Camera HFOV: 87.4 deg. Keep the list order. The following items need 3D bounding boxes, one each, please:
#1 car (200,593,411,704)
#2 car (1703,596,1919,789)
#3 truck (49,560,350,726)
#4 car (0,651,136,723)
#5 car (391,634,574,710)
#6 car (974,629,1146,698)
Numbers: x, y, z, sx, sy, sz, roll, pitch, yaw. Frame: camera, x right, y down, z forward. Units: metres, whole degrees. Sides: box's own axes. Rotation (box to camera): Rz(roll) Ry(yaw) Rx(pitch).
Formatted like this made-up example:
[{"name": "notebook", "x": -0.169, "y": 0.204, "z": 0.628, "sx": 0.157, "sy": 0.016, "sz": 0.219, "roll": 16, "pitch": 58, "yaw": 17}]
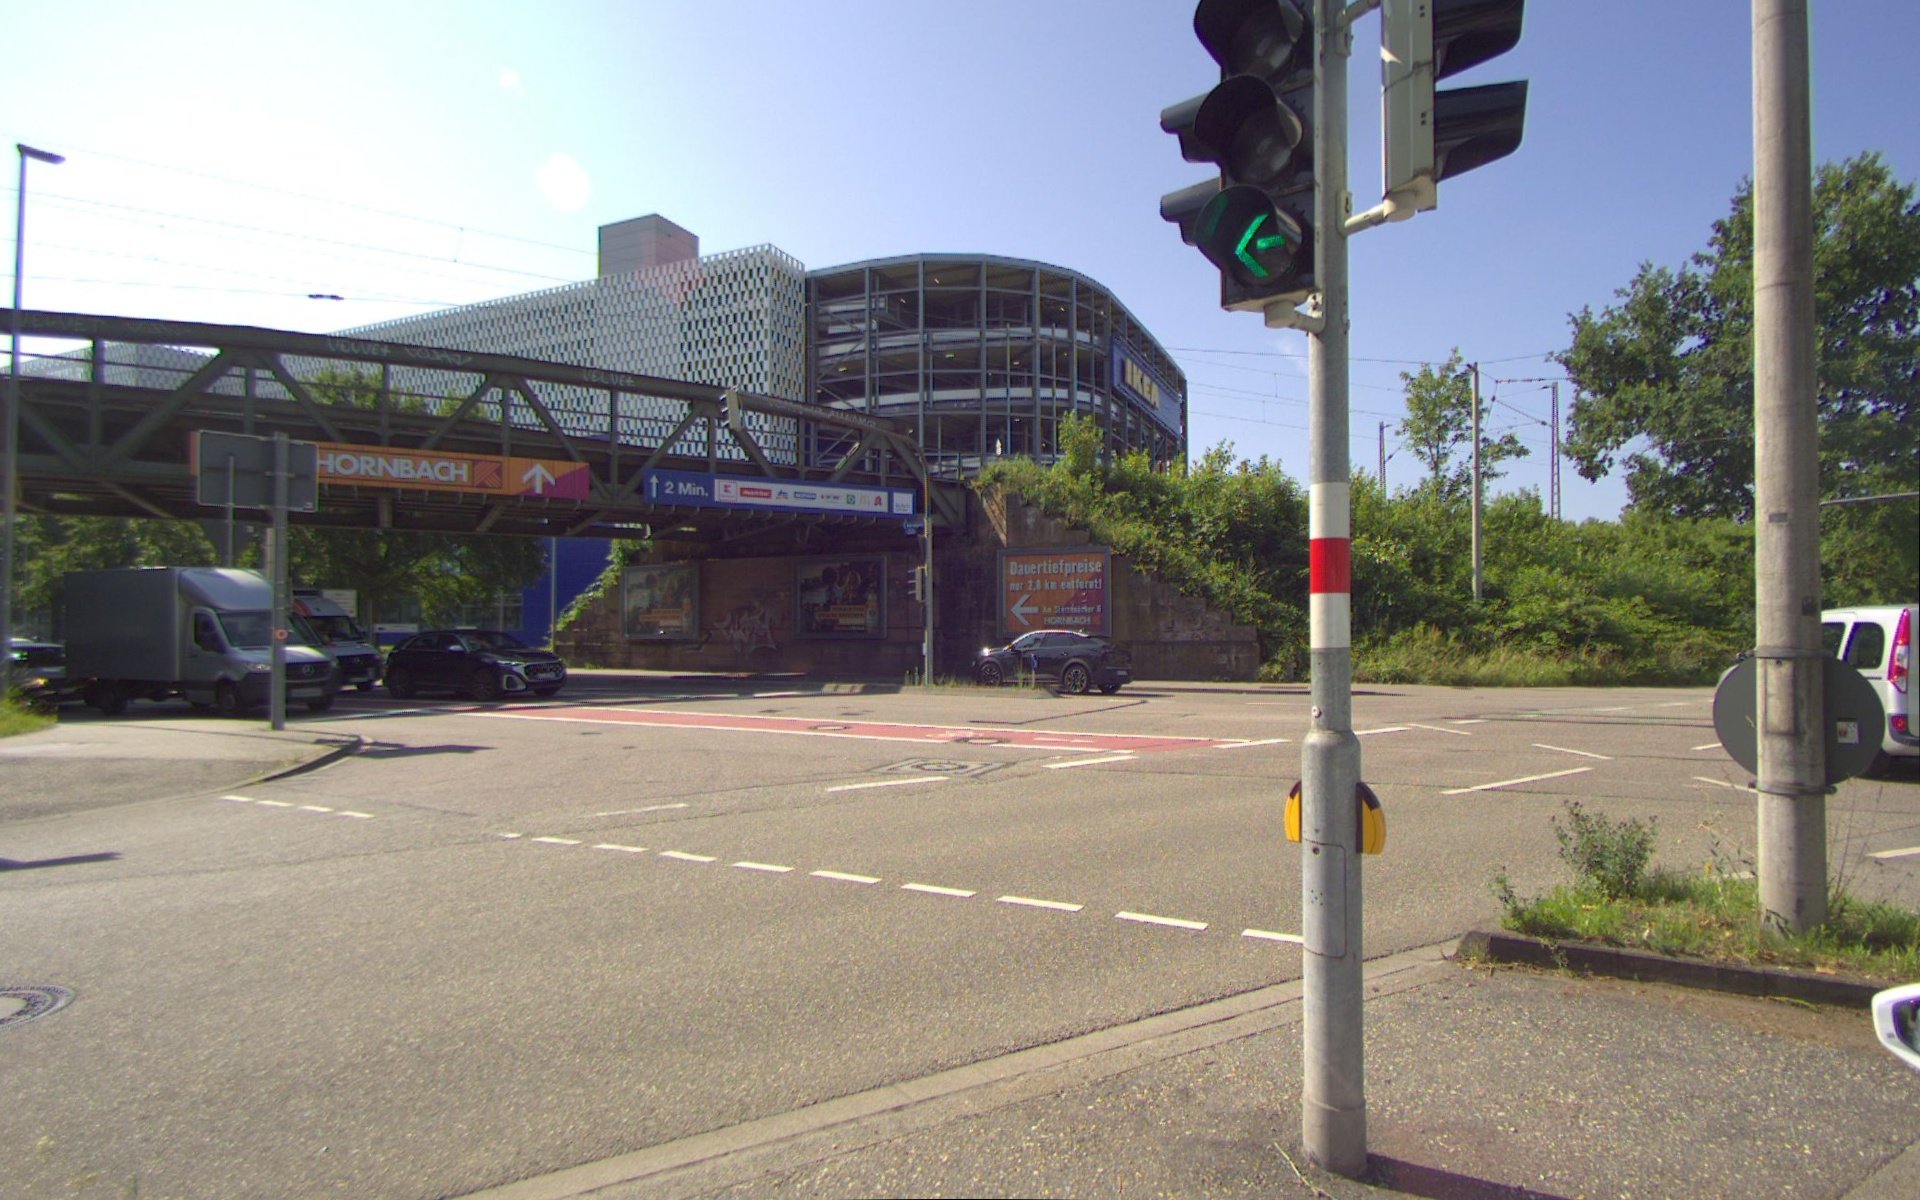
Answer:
[{"name": "car", "x": -18.402, "y": 1.352, "z": 28.191, "sx": 6.085, "sy": 2.849, "sz": 2.173, "roll": -1, "pitch": -2, "yaw": 26}, {"name": "car", "x": 10.441, "y": 0.947, "z": 11.515, "sx": 1.756, "sy": 1.862, "sz": 4.002, "roll": 1, "pitch": -1, "yaw": 16}, {"name": "truck", "x": -16.305, "y": 0.961, "z": 21.450, "sx": 6.736, "sy": 3.146, "sz": 2.217, "roll": -2, "pitch": -2, "yaw": 25}, {"name": "car", "x": -22.164, "y": 2.046, "z": 24.390, "sx": 4.161, "sy": 1.408, "sz": 1.888, "roll": 1, "pitch": -1, "yaw": 28}, {"name": "car", "x": -11.477, "y": 1.723, "z": 24.150, "sx": 3.925, "sy": 1.668, "sz": 1.903, "roll": -2, "pitch": -2, "yaw": 25}, {"name": "car", "x": 2.590, "y": 1.642, "z": 26.526, "sx": 4.164, "sy": 1.683, "sz": 1.928, "roll": -2, "pitch": -3, "yaw": 39}]
